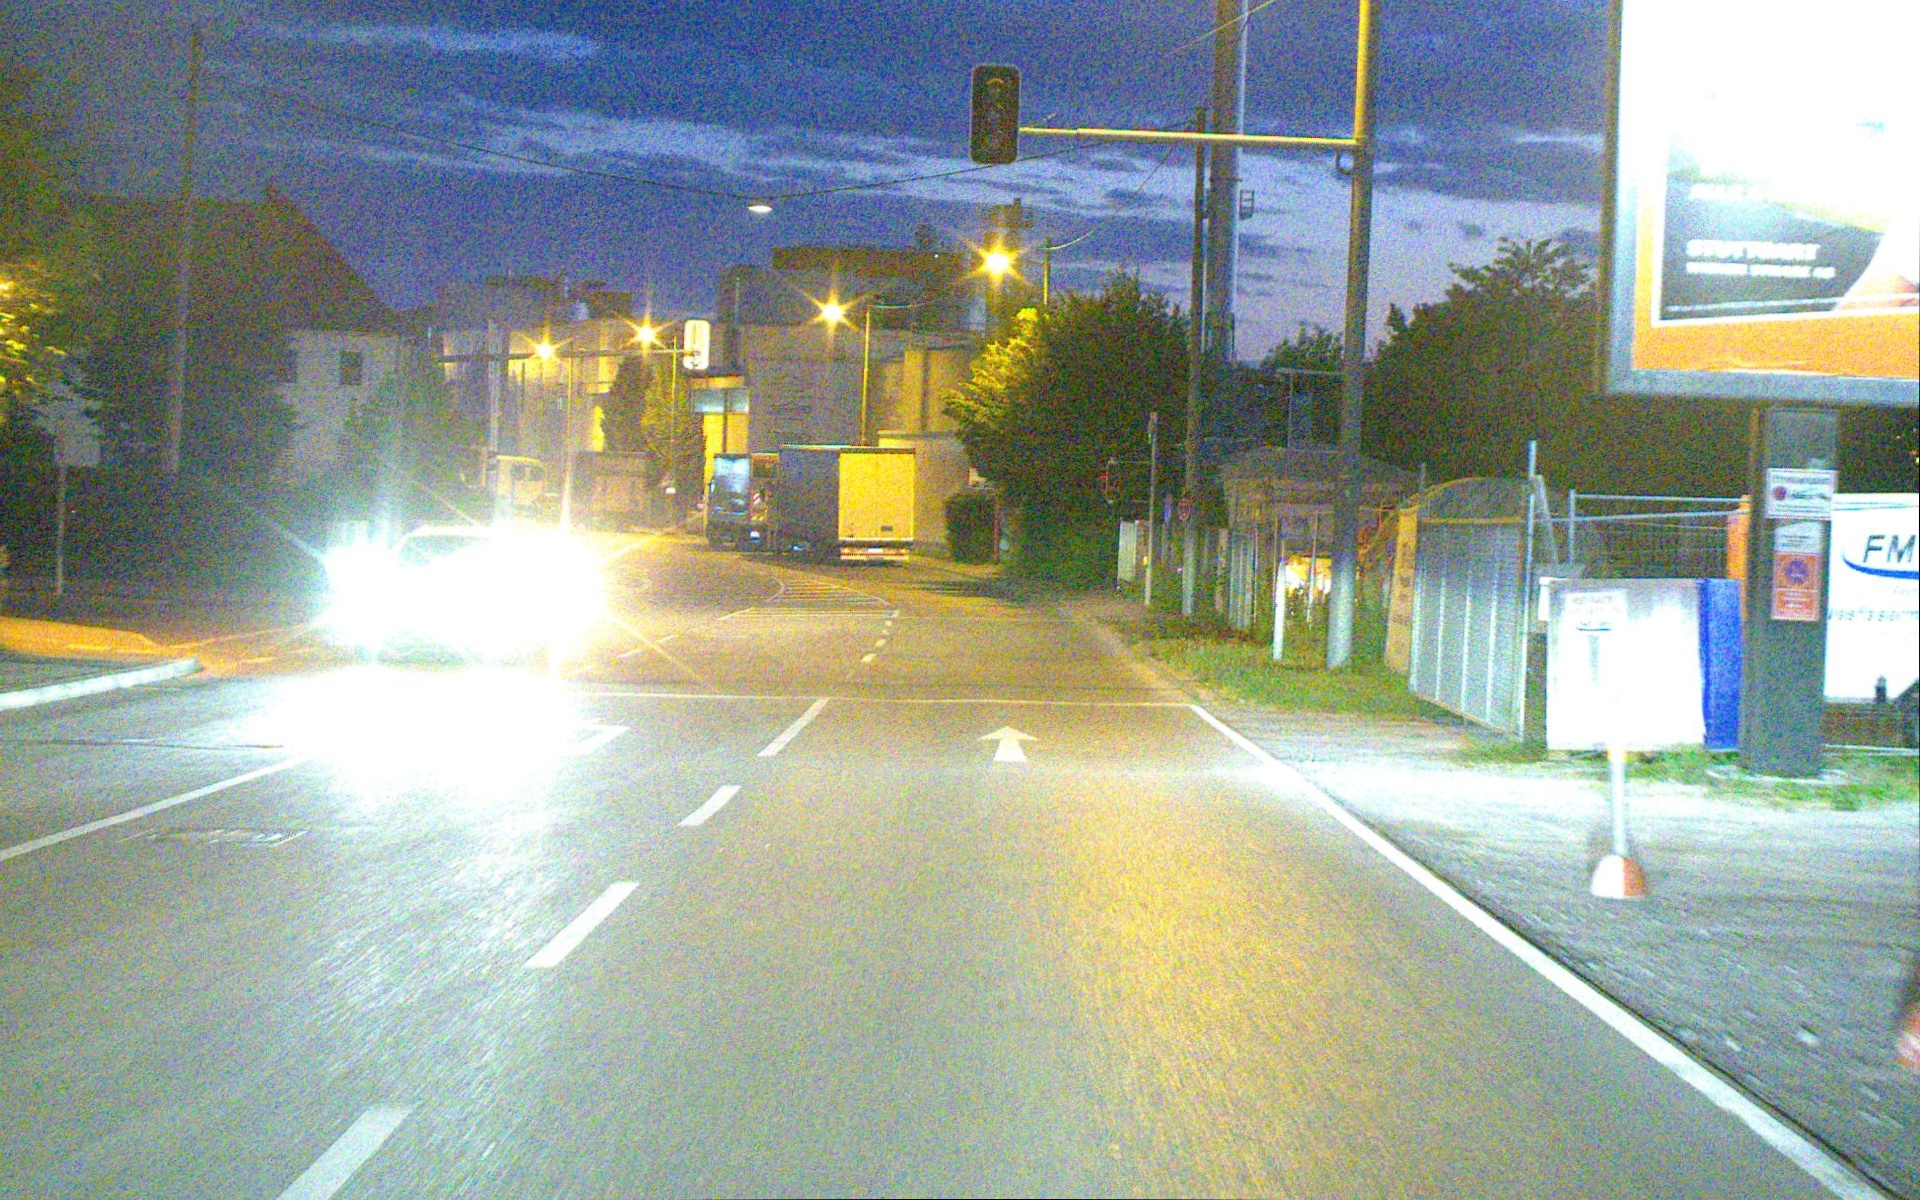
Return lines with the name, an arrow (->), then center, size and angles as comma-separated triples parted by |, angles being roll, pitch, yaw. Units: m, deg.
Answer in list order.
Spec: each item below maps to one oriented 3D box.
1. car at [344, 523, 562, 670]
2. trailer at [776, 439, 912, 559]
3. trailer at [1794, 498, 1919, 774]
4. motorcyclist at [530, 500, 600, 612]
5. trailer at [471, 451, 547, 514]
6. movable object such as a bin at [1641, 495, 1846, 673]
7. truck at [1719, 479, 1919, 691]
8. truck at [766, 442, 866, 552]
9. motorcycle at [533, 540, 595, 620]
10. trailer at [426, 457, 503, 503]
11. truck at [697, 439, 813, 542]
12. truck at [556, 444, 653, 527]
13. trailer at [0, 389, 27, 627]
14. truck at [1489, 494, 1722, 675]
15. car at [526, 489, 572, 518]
car -> -6.129, -0.091, 42.112 | 1.993, 1.621, 4.753 | 2, 1, -1
trailer -> -4.226, -3.617, 121.520 | 2.808, 3.969, 13.979 | 0, 2, -10
trailer -> 8.242, 0.275, 25.457 | 3.751, 2.006, 1.612 | 2, 2, 24
motorcyclist -> -6.862, -0.764, 59.714 | 1.133, 1.893, 0.834 | 2, 1, -6
trailer -> -25.985, -6.813, 197.953 | 2.686, 3.452, 7.812 | 2, 2, -19
movable object such as a bin -> 12.798, -0.309, 56.421 | 2.227, 2.715, 3.866 | 3, 1, -2
truck -> 12.661, -0.251, 49.292 | 2.183, 2.738, 7.315 | 3, 1, 3
truck -> -5.403, -3.858, 127.913 | 2.829, 3.969, 6.052 | 0, 2, -11
motorcycle -> -6.879, -0.370, 59.815 | 0.997, 1.300, 2.827 | 2, 1, -6
trailer -> -30.821, -7.486, 213.540 | 3.183, 2.739, 10.719 | 0, 2, -17
truck -> -8.329, -4.432, 138.331 | 2.829, 3.969, 10.346 | 0, 2, -14
truck -> -17.736, -5.714, 170.834 | 3.519, 3.969, 10.346 | 0, 2, -13
trailer -> -13.129, -1.081, 39.383 | 4.348, 2.710, 2.000 | 1, 2, -1
truck -> 9.515, -0.304, 51.324 | 2.183, 2.414, 7.316 | 3, 1, 2
car -> -22.168, -5.222, 185.510 | 1.852, 1.514, 3.820 | 0, 2, -16
